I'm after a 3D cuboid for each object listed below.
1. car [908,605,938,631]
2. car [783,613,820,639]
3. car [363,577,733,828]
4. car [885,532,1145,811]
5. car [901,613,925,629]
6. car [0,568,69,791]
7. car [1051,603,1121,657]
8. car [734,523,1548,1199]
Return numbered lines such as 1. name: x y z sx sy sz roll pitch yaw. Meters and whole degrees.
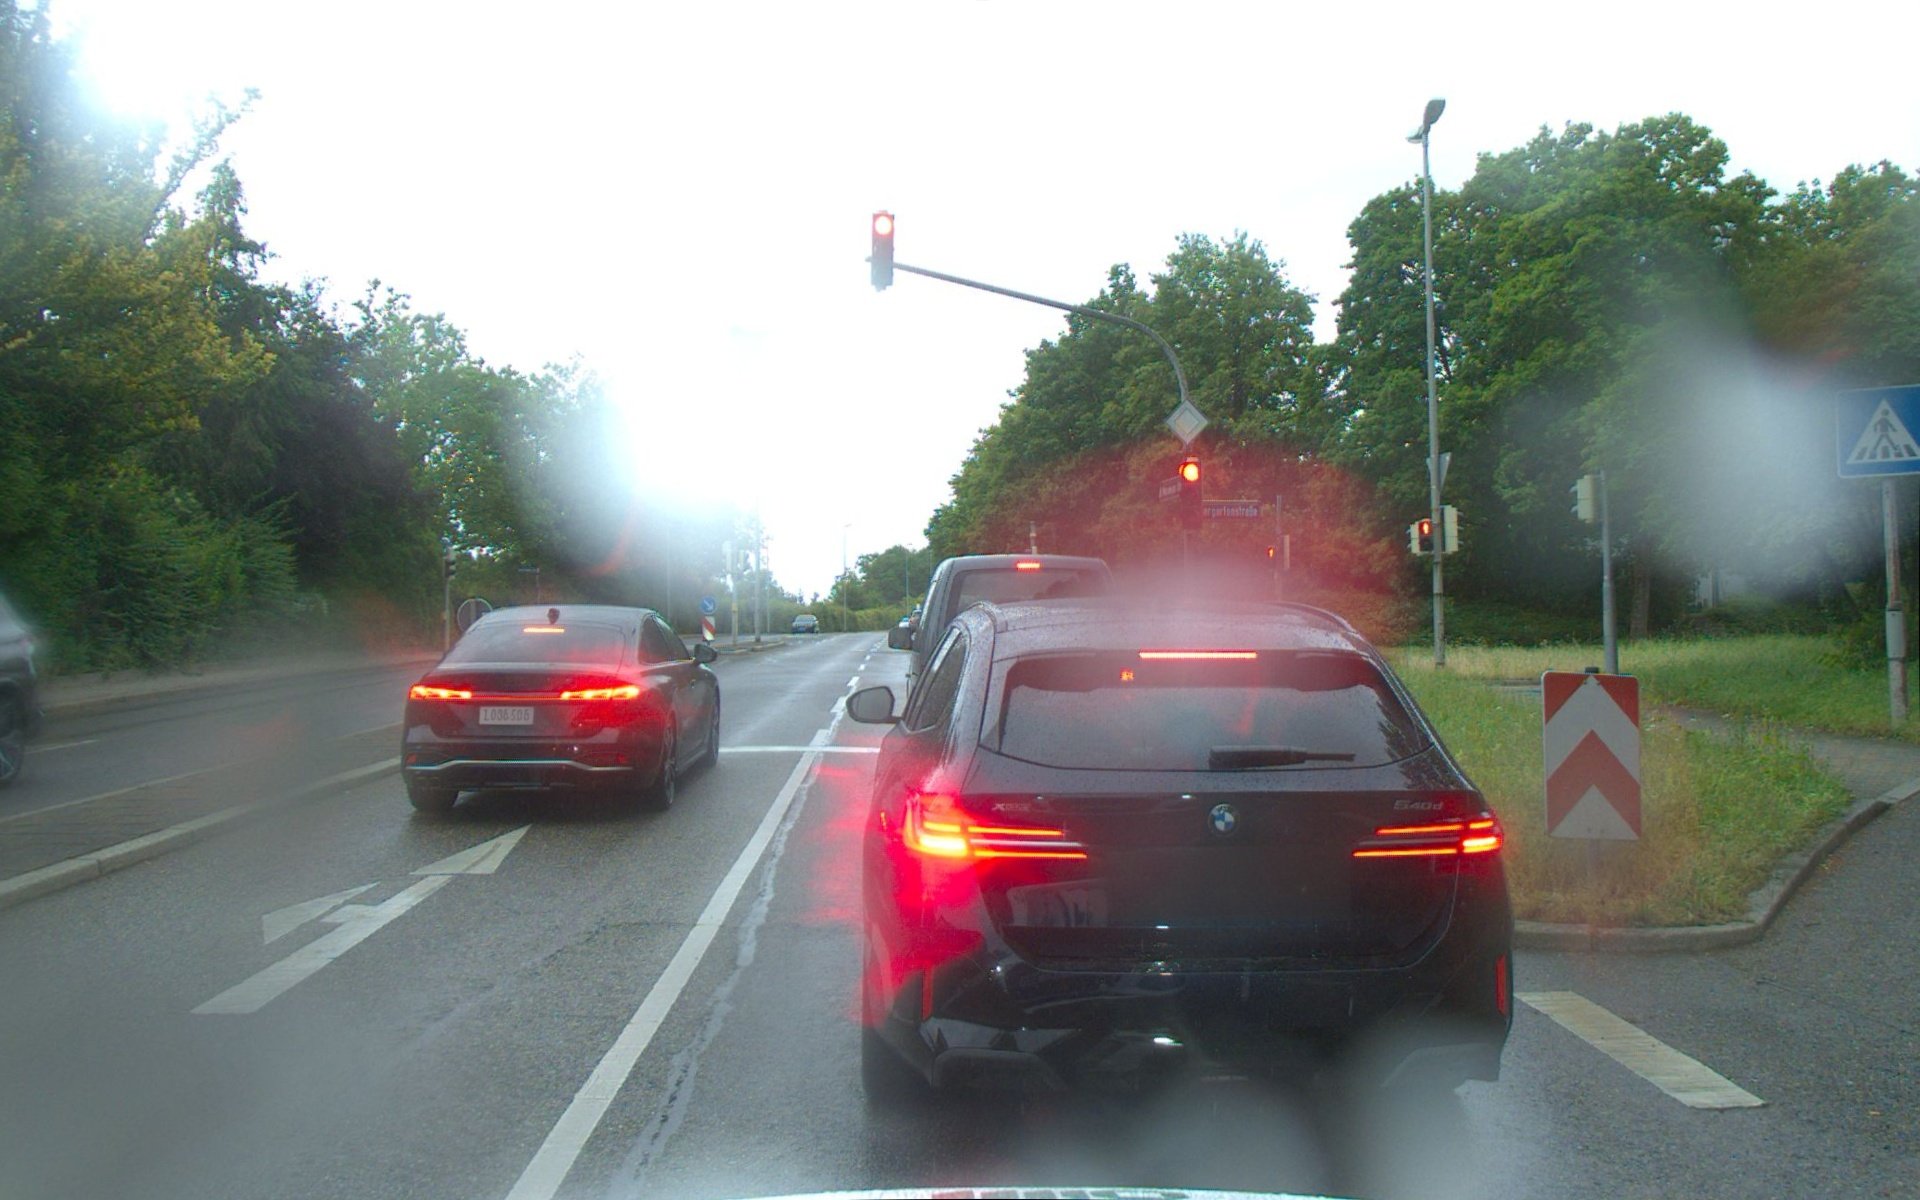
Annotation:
1. car: -2.208 1.077 98.289 1.663 1.452 3.513 -2 0 0
2. car: -11.770 1.924 123.138 1.951 1.858 4.002 -2 -1 6
3. car: -2.979 0.684 12.957 1.954 1.554 4.325 -2 0 -3
4. car: 0.372 0.506 13.352 1.781 1.901 3.952 0 0 0
5. car: -5.257 2.346 185.138 1.951 1.639 3.674 -2 -1 9
6. car: -8.542 0.656 11.577 1.952 1.747 4.718 -2 0 1
7. car: 3.966 0.921 52.468 1.835 1.569 3.952 -2 0 0
8. car: 0.521 0.657 6.117 1.858 1.578 4.616 1 -1 3
